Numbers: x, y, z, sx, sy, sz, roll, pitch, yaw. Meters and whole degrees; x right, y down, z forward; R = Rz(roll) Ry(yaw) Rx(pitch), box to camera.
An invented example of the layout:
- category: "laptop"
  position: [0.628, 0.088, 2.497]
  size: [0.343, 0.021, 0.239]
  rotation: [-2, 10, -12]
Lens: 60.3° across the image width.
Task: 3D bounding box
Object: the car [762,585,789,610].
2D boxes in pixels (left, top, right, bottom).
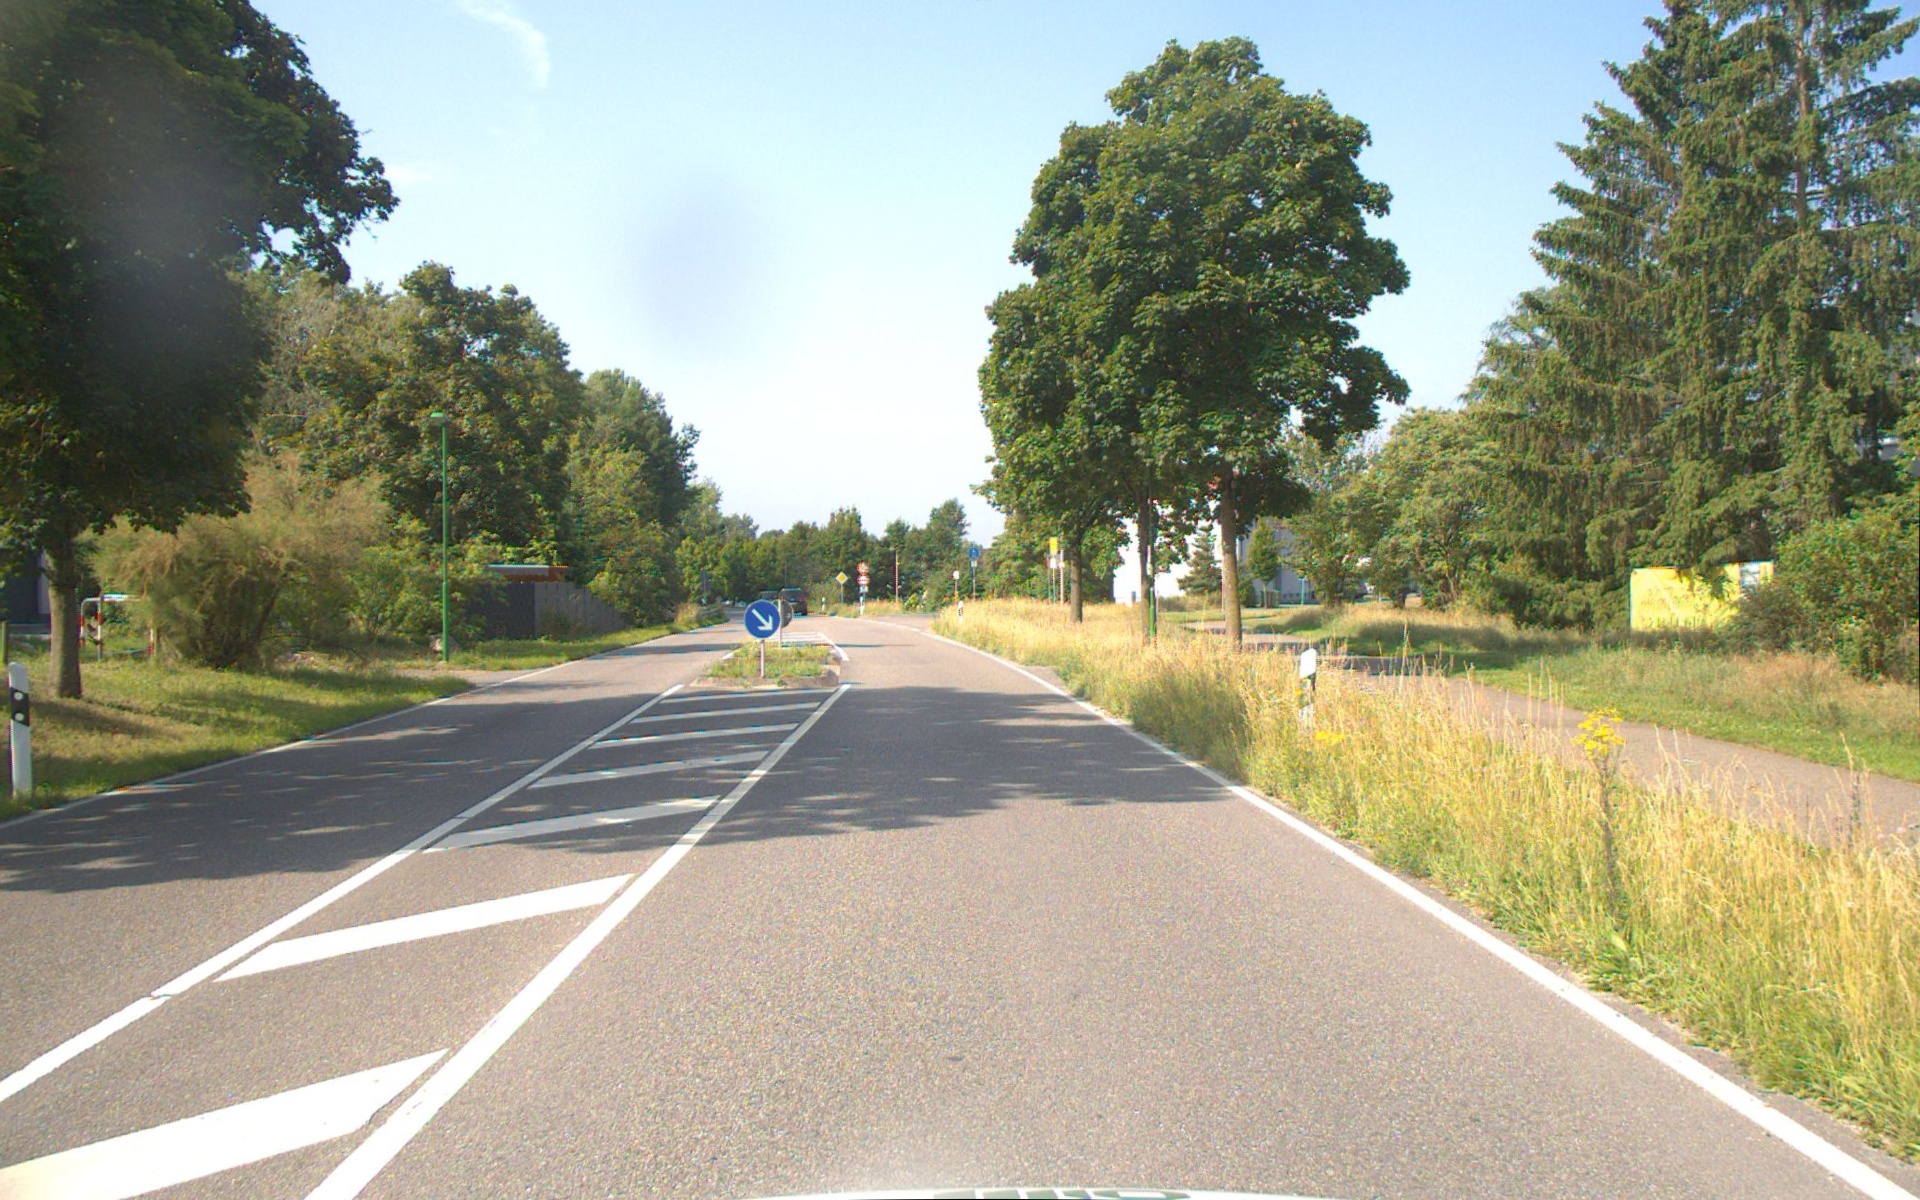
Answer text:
- category: "car"
  position: [-13.916, -0.189, 124.470]
  size: [1.966, 1.802, 3.993]
  rotation: [-1, 1, -8]

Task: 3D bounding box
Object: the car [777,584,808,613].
- category: "car"
  position: [-10.629, -0.125, 105.015]
  size: [1.888, 1.802, 3.995]
  rotation: [-1, 1, -6]
